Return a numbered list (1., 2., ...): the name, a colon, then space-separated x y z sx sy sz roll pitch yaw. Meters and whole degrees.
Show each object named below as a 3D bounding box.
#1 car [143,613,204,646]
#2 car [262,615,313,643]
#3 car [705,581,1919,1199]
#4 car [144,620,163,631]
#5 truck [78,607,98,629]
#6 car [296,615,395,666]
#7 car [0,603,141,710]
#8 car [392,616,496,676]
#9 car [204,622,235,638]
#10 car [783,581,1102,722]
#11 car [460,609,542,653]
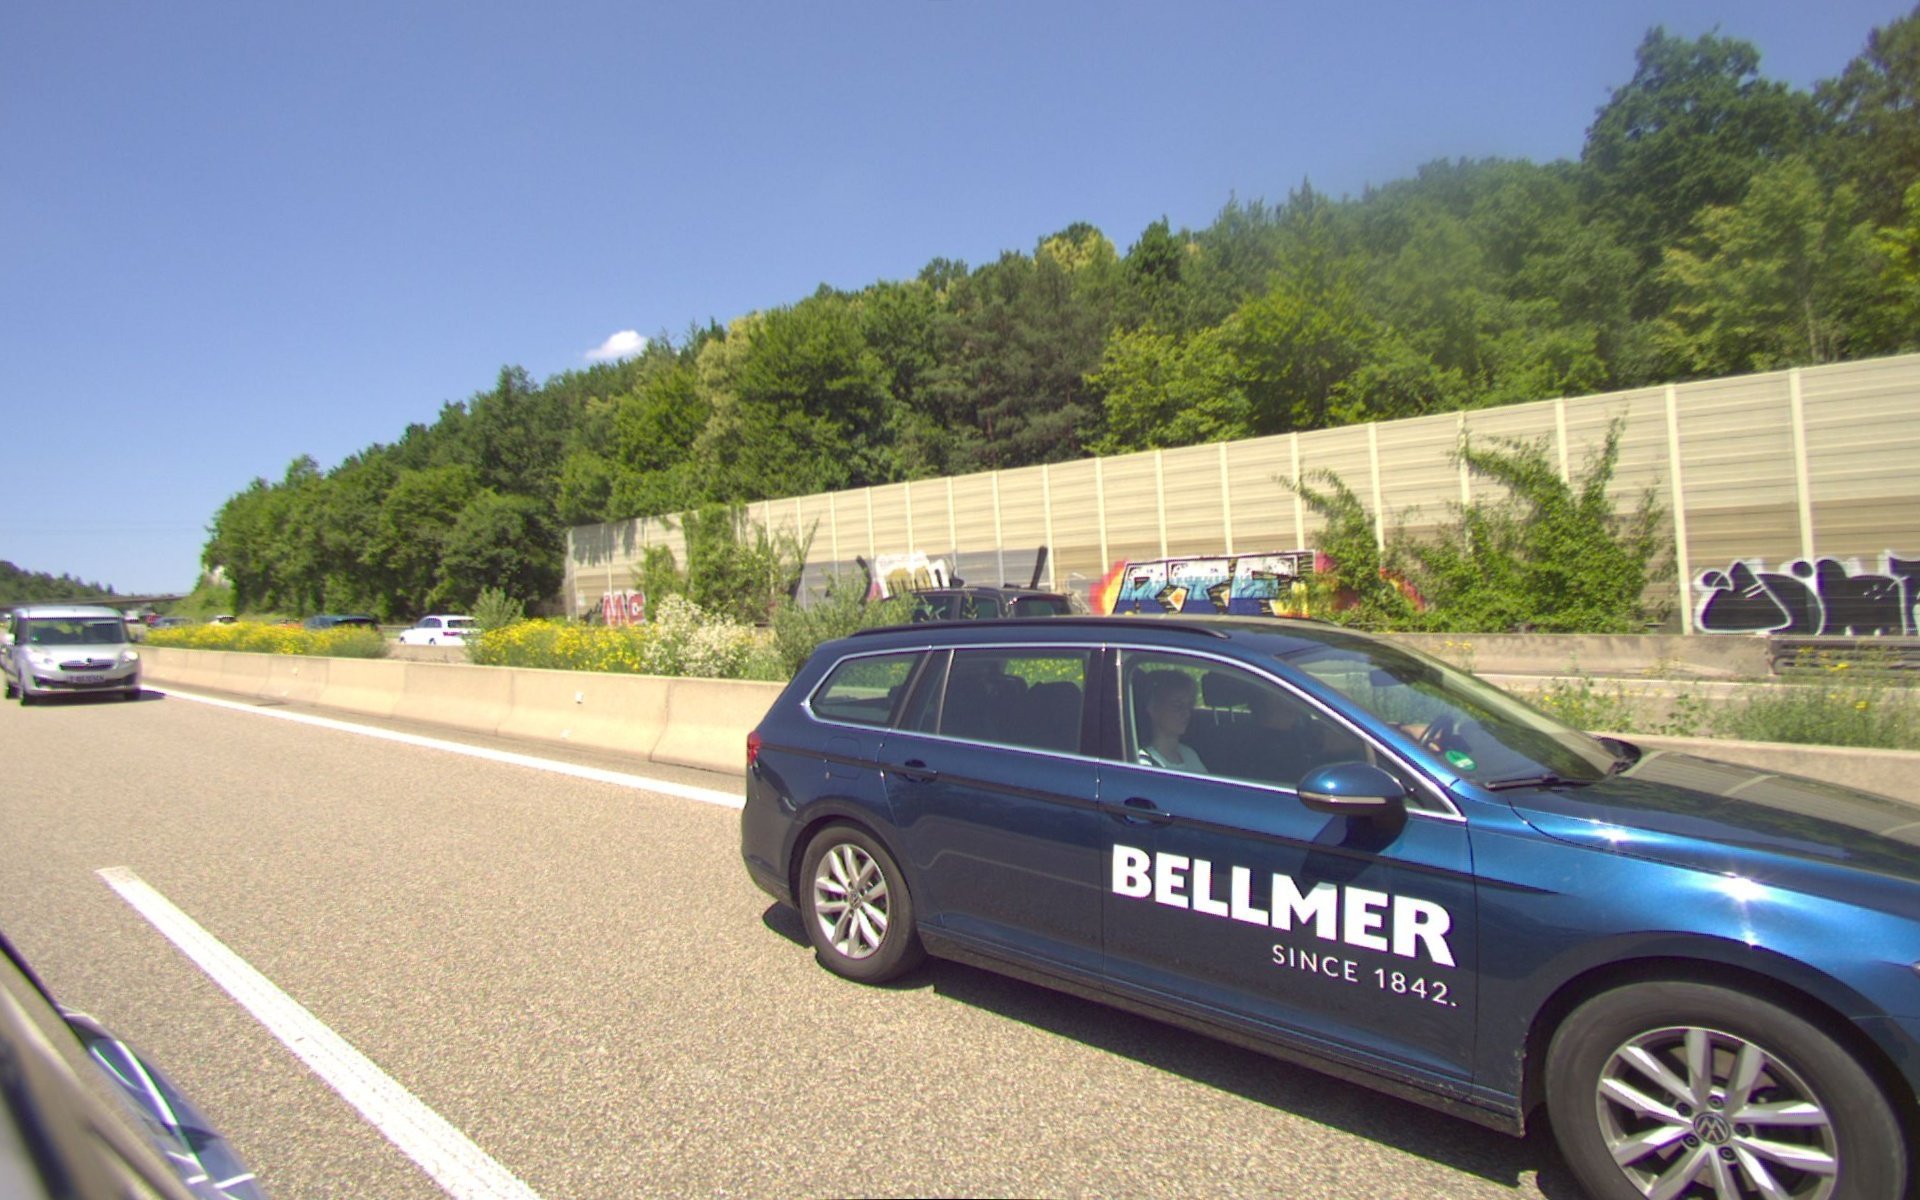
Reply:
1. car: -40.188 1.488 51.654 4.713 1.589 1.728 -1 -1 43
2. car: -42.066 1.799 63.277 4.187 1.652 1.721 -1 -1 42
3. car: 1.178 0.712 3.601 4.728 1.438 1.714 -2 -1 42
4. car: -120.639 3.851 151.297 4.000 1.647 1.708 -1 -1 43
5. truck: -144.313 2.938 167.495 6.027 3.532 1.971 -1 -1 43
6. car: -19.272 1.245 31.687 3.752 1.478 1.599 -2 -1 41
7. car: -17.349 1.017 19.648 4.000 1.858 1.756 -2 -1 43
8. car: -18.154 1.558 35.522 4.502 1.936 1.719 -1 -1 41
9. car: -69.224 2.813 94.612 4.313 1.493 1.612 -2 -1 43
10. car: -0.394 0.673 14.479 4.656 1.711 1.666 -2 -1 41
11. car: -21.152 1.389 46.558 4.502 1.936 1.719 -1 -1 41
